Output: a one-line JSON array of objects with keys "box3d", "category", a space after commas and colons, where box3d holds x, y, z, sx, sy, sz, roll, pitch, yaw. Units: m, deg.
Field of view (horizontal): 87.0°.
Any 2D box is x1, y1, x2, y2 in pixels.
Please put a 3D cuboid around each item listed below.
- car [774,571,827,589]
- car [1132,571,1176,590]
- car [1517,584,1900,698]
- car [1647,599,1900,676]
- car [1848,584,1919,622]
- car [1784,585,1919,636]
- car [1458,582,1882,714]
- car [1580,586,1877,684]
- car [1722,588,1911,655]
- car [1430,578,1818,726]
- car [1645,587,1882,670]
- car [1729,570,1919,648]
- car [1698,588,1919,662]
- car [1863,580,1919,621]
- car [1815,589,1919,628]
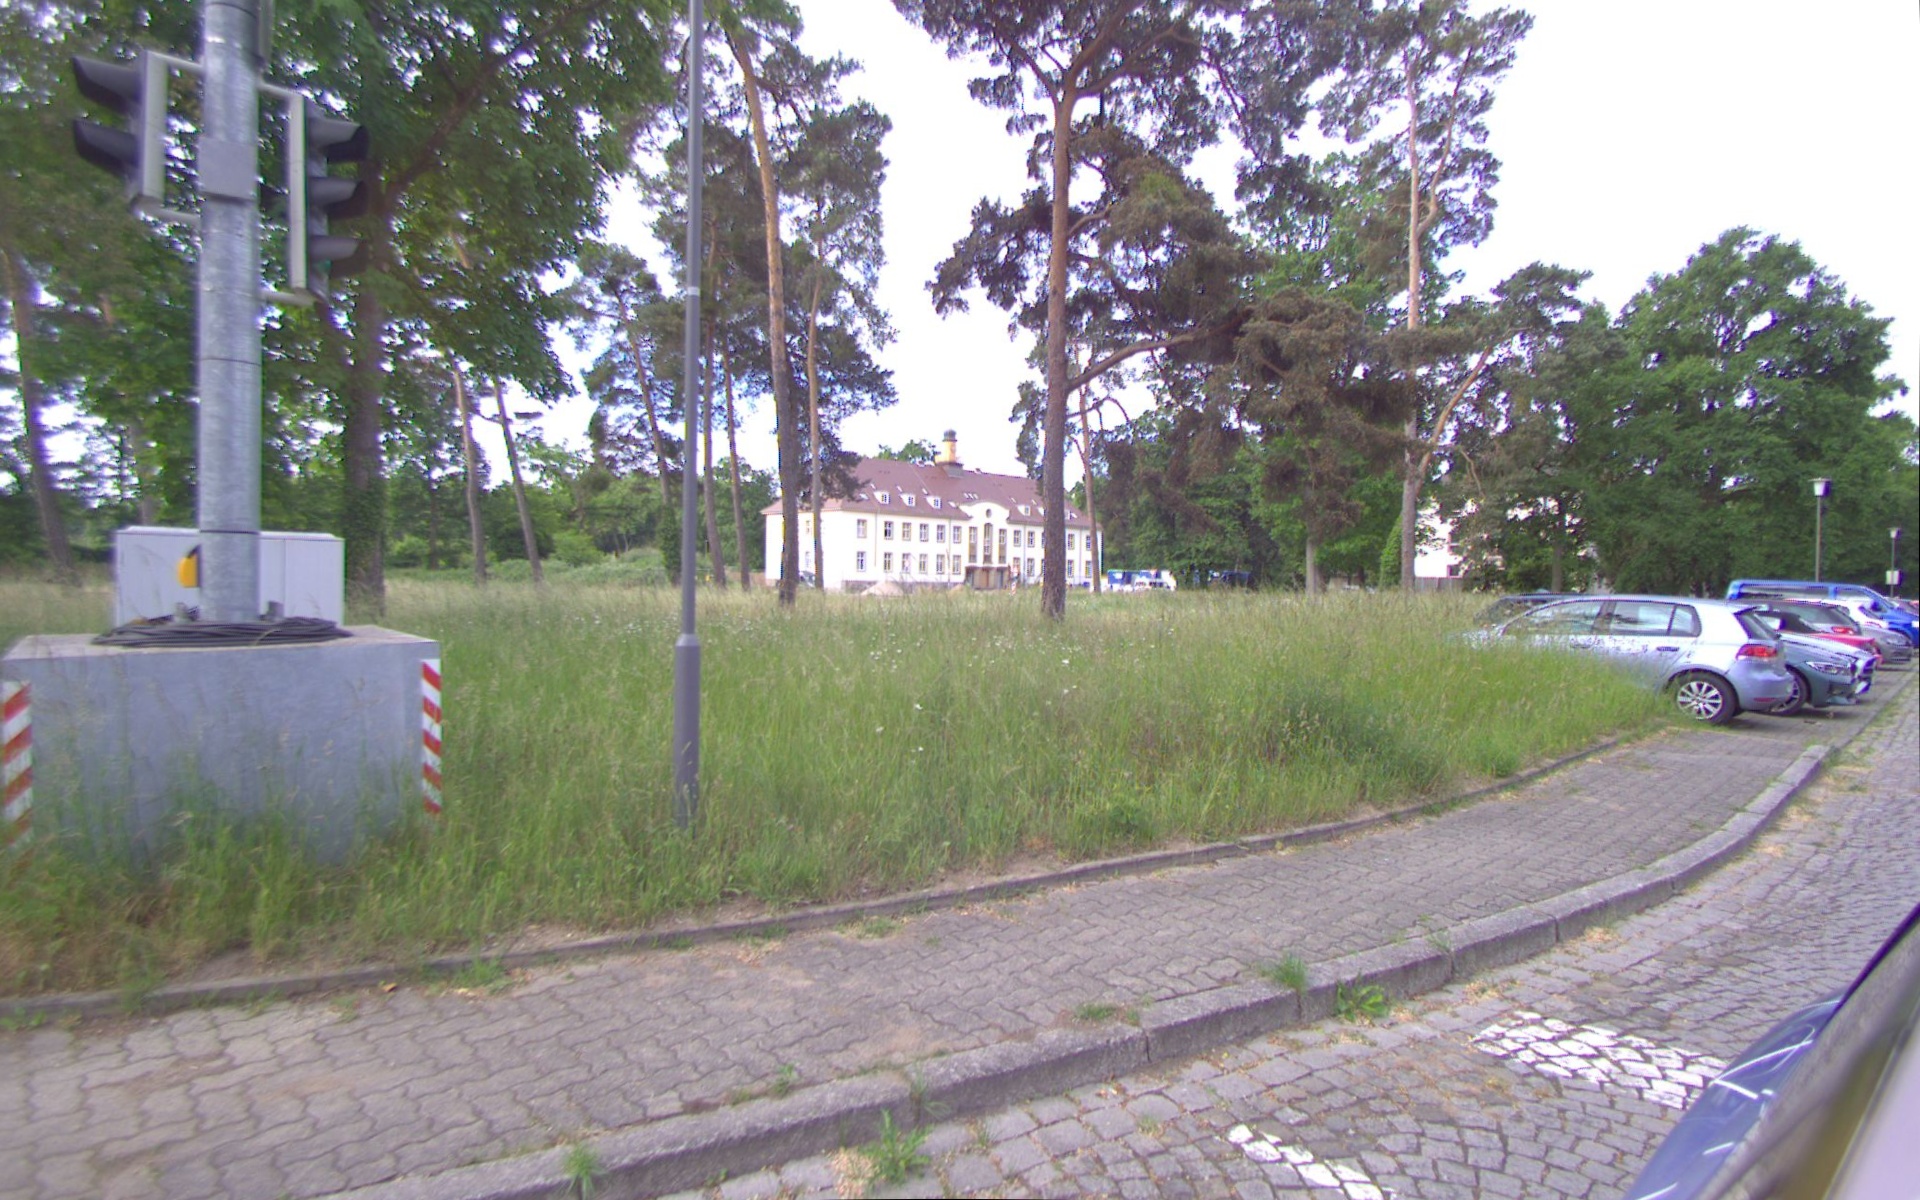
[{"box3d": [-17.879, -2.255, 113.519, 6.164, 1.882, 2.307, 2, 2, 38], "category": "car"}, {"box3d": [21.957, -2.219, 114.339, 5.133, 2.038, 2.152, -1, 2, -41], "category": "car"}, {"box3d": [11.979, 0.538, 16.492, 1.782, 1.501, 4.763, 0, 2, -43], "category": "car"}, {"box3d": [15.474, 0.650, 19.383, 1.469, 1.222, 3.597, 0, 1, -42], "category": "car"}, {"box3d": [45.926, 0.148, 49.160, 1.966, 1.784, 4.004, 0, 2, -42], "category": "car"}, {"box3d": [31.332, 0.329, 35.138, 1.966, 1.630, 3.992, 0, 2, -43], "category": "car"}, {"box3d": [9.956, 0.546, 14.501, 4.758, 1.501, 1.734, 2, 2, 44], "category": "car"}, {"box3d": [13.583, 0.523, 18.051, 1.770, 1.470, 3.967, 0, 2, -43], "category": "car"}, {"box3d": [21.272, 0.475, 25.212, 1.609, 1.470, 3.405, 0, 2, -42], "category": "car"}, {"box3d": [8.152, 0.526, 12.663, 1.579, 1.444, 3.768, 0, 2, -43], "category": "car"}, {"box3d": [17.019, 0.527, 21.539, 1.770, 1.524, 3.779, 0, 2, -45], "category": "car"}, {"box3d": [25.130, 0.200, 28.898, 1.967, 1.963, 4.743, 0, 3, -43], "category": "car"}, {"box3d": [19.426, 0.499, 23.118, 1.788, 1.474, 3.847, 0, 2, -40], "category": "car"}, {"box3d": [49.210, 0.030, 51.977, 1.966, 2.038, 3.993, 0, 2, -42], "category": "car"}, {"box3d": [38.500, 0.339, 42.347, 1.966, 1.549, 3.991, 0, 0, -43], "category": "car"}]
